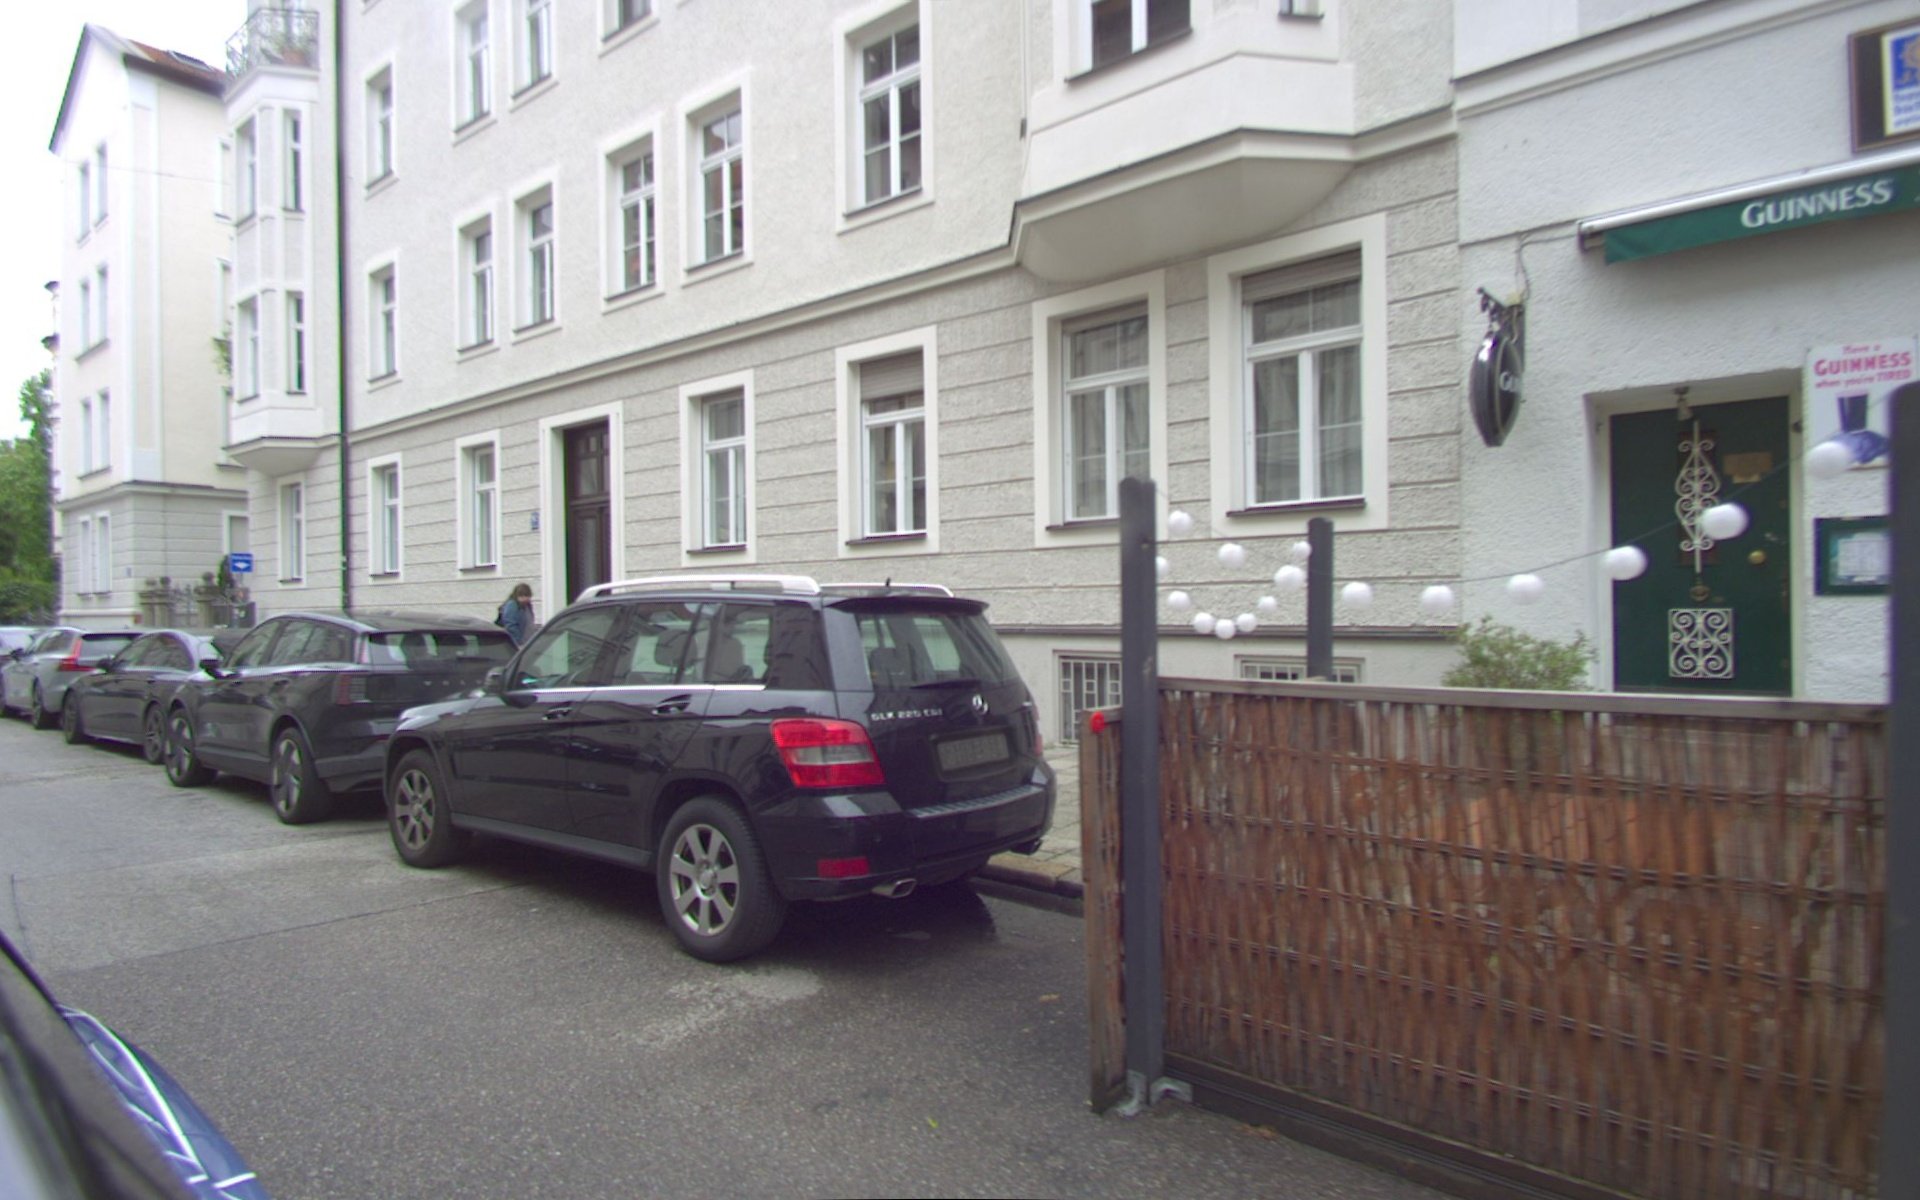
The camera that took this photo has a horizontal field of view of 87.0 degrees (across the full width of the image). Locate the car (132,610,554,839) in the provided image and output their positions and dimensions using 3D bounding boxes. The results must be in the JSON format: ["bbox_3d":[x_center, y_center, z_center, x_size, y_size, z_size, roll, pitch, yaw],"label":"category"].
[{"bbox_3d":[-5.403,0.869,8.658,4.175,1.498,1.725,-1,-1,38],"label":"car"}]

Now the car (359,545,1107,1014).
[{"bbox_3d":[-1.475,0.733,5.657,4.268,1.686,1.729,-2,-4,37],"label":"car"}]

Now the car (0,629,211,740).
[{"bbox_3d":[-13.159,1.180,15.311,4.505,1.430,1.777,-1,-3,38],"label":"car"}]

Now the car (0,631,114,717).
[{"bbox_3d":[-17.369,1.289,18.518,4.692,1.377,1.833,-2,-1,36],"label":"car"}]

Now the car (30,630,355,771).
[{"bbox_3d":[-9.219,1.069,12.050,4.433,1.396,1.795,-1,-2,35],"label":"car"}]

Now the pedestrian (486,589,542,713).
[{"bbox_3d":[-6.400,0.719,14.562,0.654,1.720,0.702,-1,-1,-19],"label":"pedestrian"}]

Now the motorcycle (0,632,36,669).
[{"bbox_3d":[-33.995,1.796,36.456,1.818,1.259,0.698,-1,1,37],"label":"motorcycle"}]
